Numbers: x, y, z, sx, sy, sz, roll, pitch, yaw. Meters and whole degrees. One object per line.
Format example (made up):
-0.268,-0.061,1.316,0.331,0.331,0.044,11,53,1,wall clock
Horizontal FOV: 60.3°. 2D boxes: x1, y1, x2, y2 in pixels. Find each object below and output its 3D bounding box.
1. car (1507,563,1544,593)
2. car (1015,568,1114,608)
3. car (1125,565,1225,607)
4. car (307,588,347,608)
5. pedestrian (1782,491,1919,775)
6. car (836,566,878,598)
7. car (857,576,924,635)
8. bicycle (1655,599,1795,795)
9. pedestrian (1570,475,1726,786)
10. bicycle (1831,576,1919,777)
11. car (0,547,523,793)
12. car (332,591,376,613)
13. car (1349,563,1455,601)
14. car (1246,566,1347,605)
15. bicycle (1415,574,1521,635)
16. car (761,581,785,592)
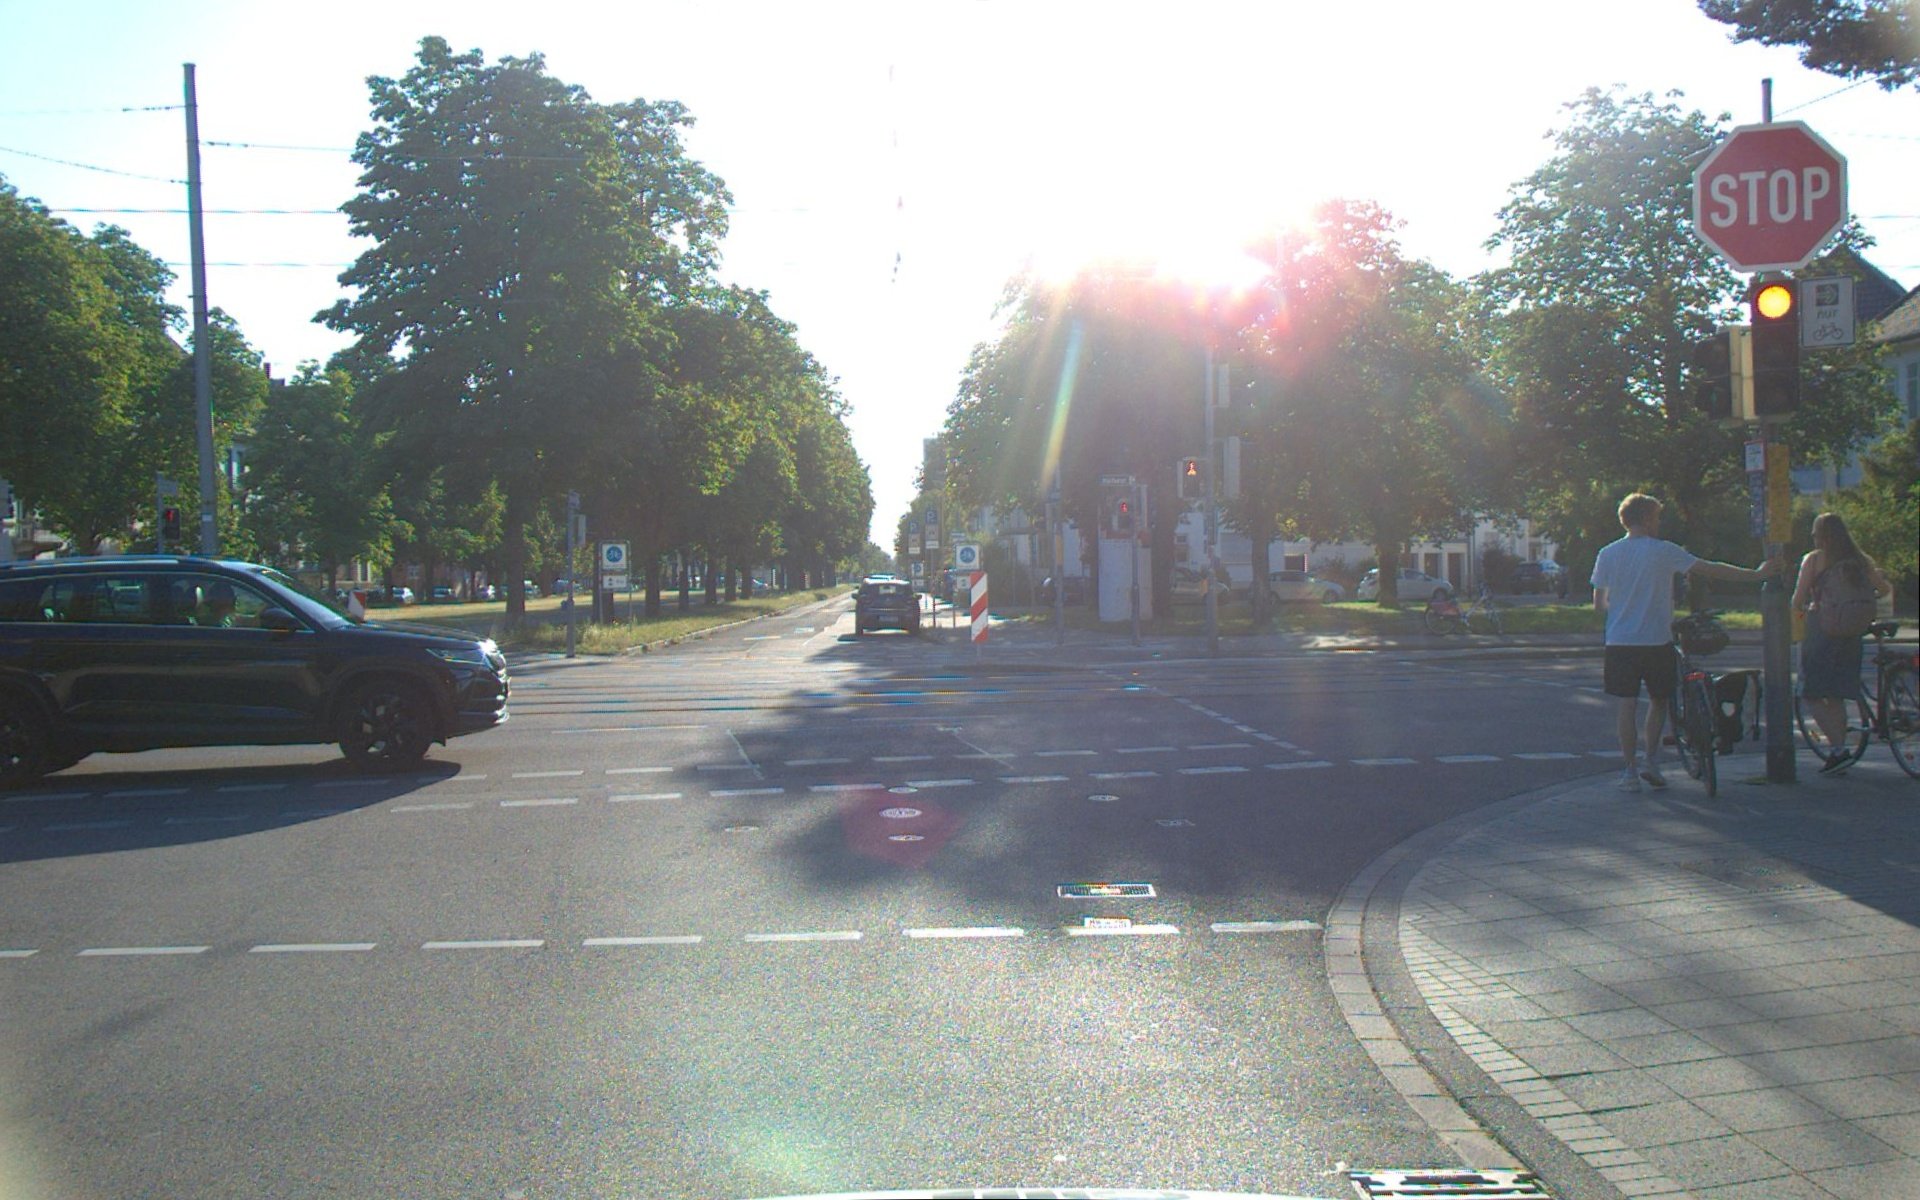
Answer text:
28.885,-1.127,84.506,1.629,1.442,3.543,-1,1,21,car
4.075,-0.484,65.033,3.704,1.452,1.743,-1,2,-3,car
8.488,-0.576,65.427,3.704,1.552,1.743,-1,2,-3,car
-48.060,-0.152,125.658,1.703,1.452,3.791,-1,1,-2,car
5.770,0.201,10.646,0.655,1.737,0.623,-4,1,17,pedestrian
-4.827,-0.859,77.729,1.808,1.418,3.828,0,1,-2,car
-1.816,0.119,43.833,1.607,1.476,3.307,-1,1,0,car
4.865,0.574,10.609,0.476,1.116,1.792,-3,0,16,bicycle
4.470,0.199,10.810,0.656,1.897,0.882,-6,-2,16,pedestrian
6.084,0.450,10.653,0.476,1.162,1.599,-3,1,16,bicycle
-5.890,0.505,13.222,4.468,1.692,1.874,-2,1,-12,car
-42.297,0.109,115.498,1.703,1.452,3.791,-1,1,-2,car
17.699,-0.733,66.284,3.772,1.452,1.595,-1,1,-7,car
13.293,-0.578,65.444,3.593,1.452,1.529,-1,1,-7,car
10.120,0.083,32.986,1.914,1.152,0.620,-1,0,0,bicycle
-27.609,-2.017,244.090,3.450,1.452,1.602,-1,1,-4,car
